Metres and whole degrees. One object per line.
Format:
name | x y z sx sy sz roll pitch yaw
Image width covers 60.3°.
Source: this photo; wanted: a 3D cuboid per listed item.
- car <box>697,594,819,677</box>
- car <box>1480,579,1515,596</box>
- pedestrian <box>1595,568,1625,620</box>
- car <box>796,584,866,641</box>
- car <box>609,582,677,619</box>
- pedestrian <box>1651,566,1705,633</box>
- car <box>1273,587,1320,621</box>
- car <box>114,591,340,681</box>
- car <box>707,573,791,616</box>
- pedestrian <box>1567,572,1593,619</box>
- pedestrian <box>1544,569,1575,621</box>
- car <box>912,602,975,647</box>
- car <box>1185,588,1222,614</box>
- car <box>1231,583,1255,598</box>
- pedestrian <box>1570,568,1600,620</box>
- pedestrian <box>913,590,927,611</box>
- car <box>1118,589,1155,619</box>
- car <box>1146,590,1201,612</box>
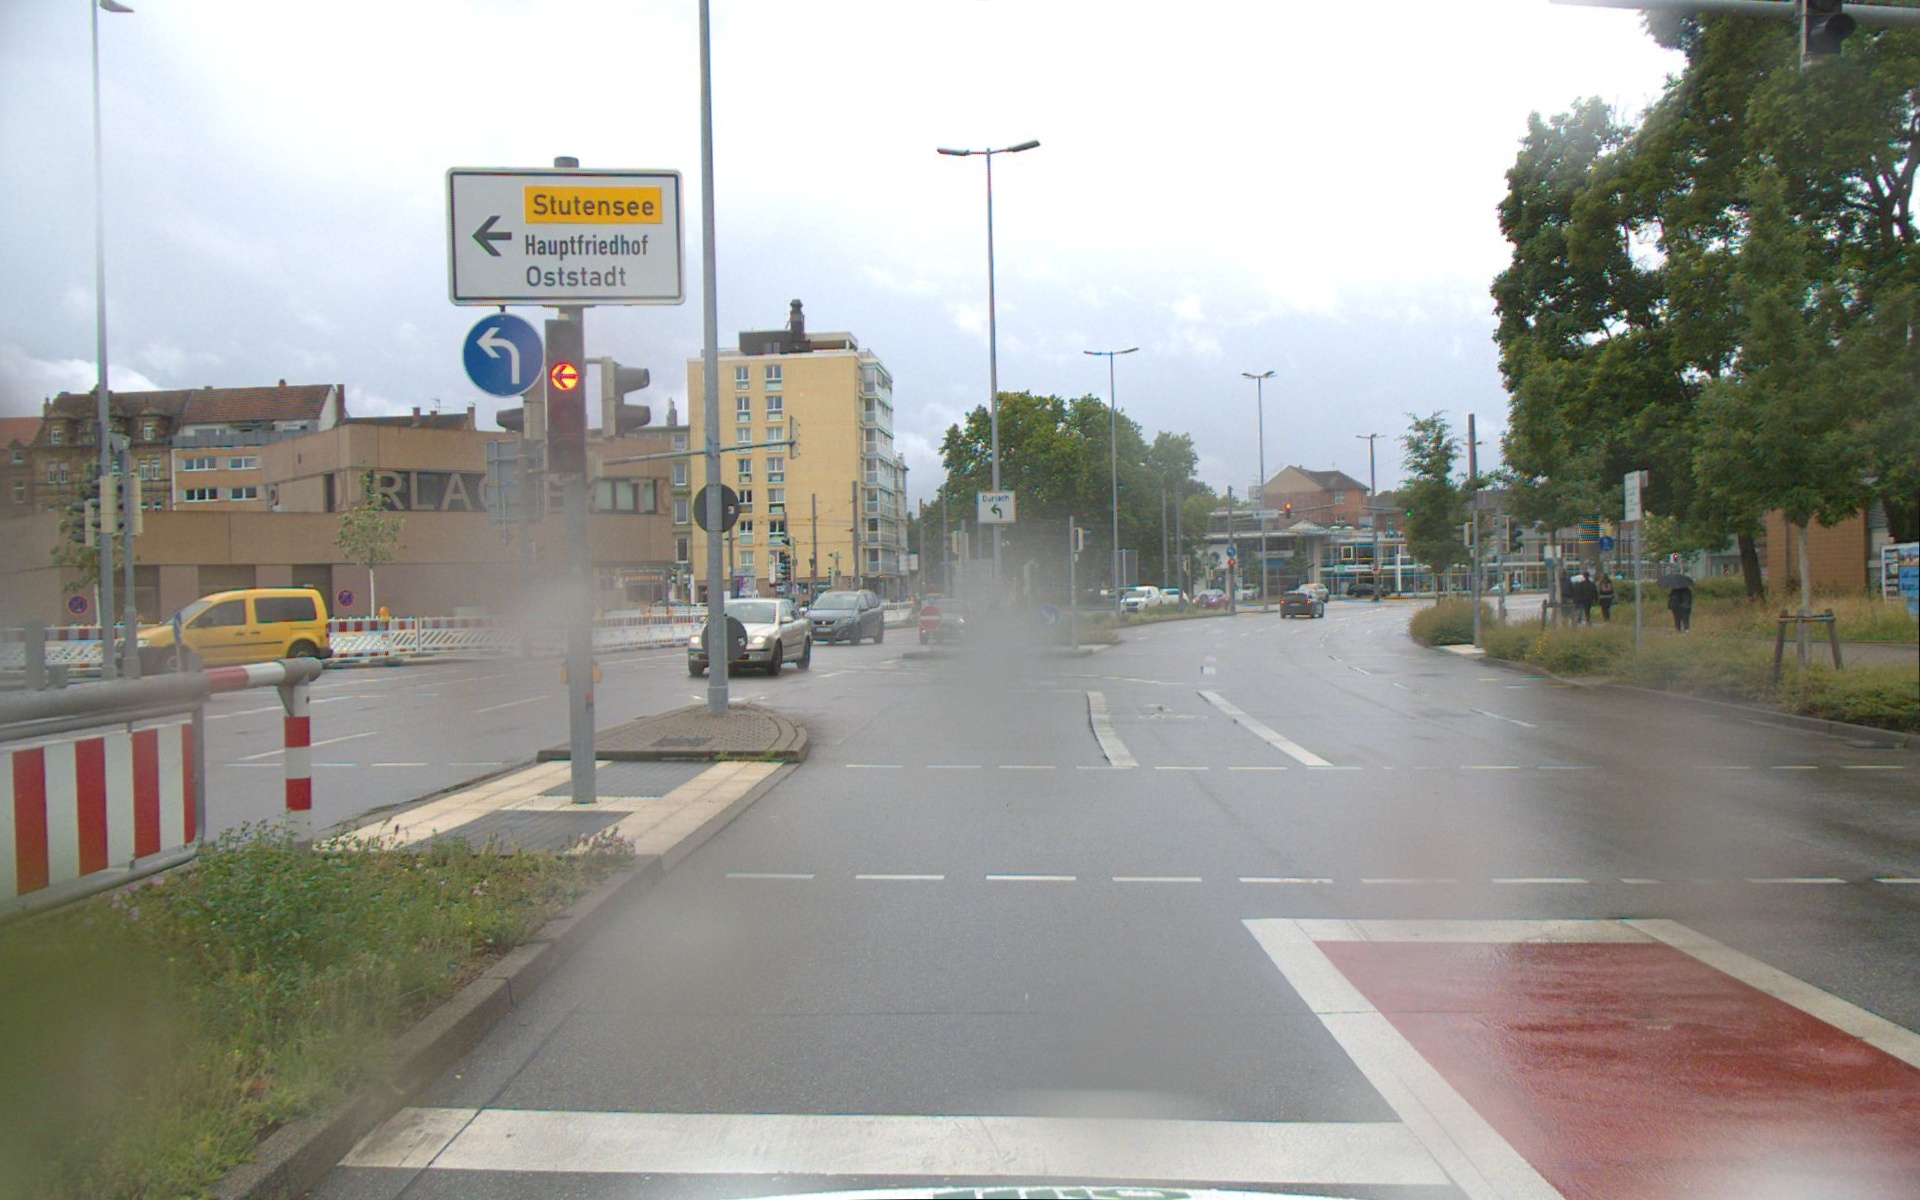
car | -3.927 0.658 32.758 1.658 1.440 4.185 -2 1 3
car | 57.029 -1.294 175.406 4.128 1.672 1.767 -2 0 -44
pedestrian | 20.520 -0.205 52.233 0.688 1.615 0.937 -1 0 9
car | -4.082 0.361 52.971 1.735 1.708 4.770 -1 0 1
car | -27.155 0.047 141.698 5.239 2.937 2.340 -2 0 2
pedestrian | 17.816 -0.011 41.045 1.000 1.615 0.937 -1 0 9
car | 17.751 0.197 87.094 1.753 1.672 4.160 -1 0 21
car | -15.716 0.734 35.584 1.683 1.735 4.123 -1 0 45
car | -17.974 -0.514 141.204 6.601 3.439 2.810 -2 0 2
pedestrian | 21.961 -0.165 58.573 0.688 1.615 0.937 -1 0 11
pedestrian | 19.128 -0.166 52.826 0.737 1.615 0.937 -1 0 9
car | -0.501 0.787 55.197 1.735 1.400 4.123 -1 0 4
car | 16.499 0.040 111.747 1.752 1.672 4.048 -1 0 19
car | 31.989 -1.068 186.999 1.753 1.672 4.159 -1 0 23
pedestrian | 19.761 -0.182 52.329 0.688 1.615 0.937 -1 0 9
pedestrian | -3.484 0.024 144.219 1.071 1.845 1.117 -2 0 -5
car | 11.601 0.252 108.675 1.752 1.890 4.163 -1 0 15
car | 17.487 0.075 135.432 4.336 1.672 1.778 -2 0 -30
